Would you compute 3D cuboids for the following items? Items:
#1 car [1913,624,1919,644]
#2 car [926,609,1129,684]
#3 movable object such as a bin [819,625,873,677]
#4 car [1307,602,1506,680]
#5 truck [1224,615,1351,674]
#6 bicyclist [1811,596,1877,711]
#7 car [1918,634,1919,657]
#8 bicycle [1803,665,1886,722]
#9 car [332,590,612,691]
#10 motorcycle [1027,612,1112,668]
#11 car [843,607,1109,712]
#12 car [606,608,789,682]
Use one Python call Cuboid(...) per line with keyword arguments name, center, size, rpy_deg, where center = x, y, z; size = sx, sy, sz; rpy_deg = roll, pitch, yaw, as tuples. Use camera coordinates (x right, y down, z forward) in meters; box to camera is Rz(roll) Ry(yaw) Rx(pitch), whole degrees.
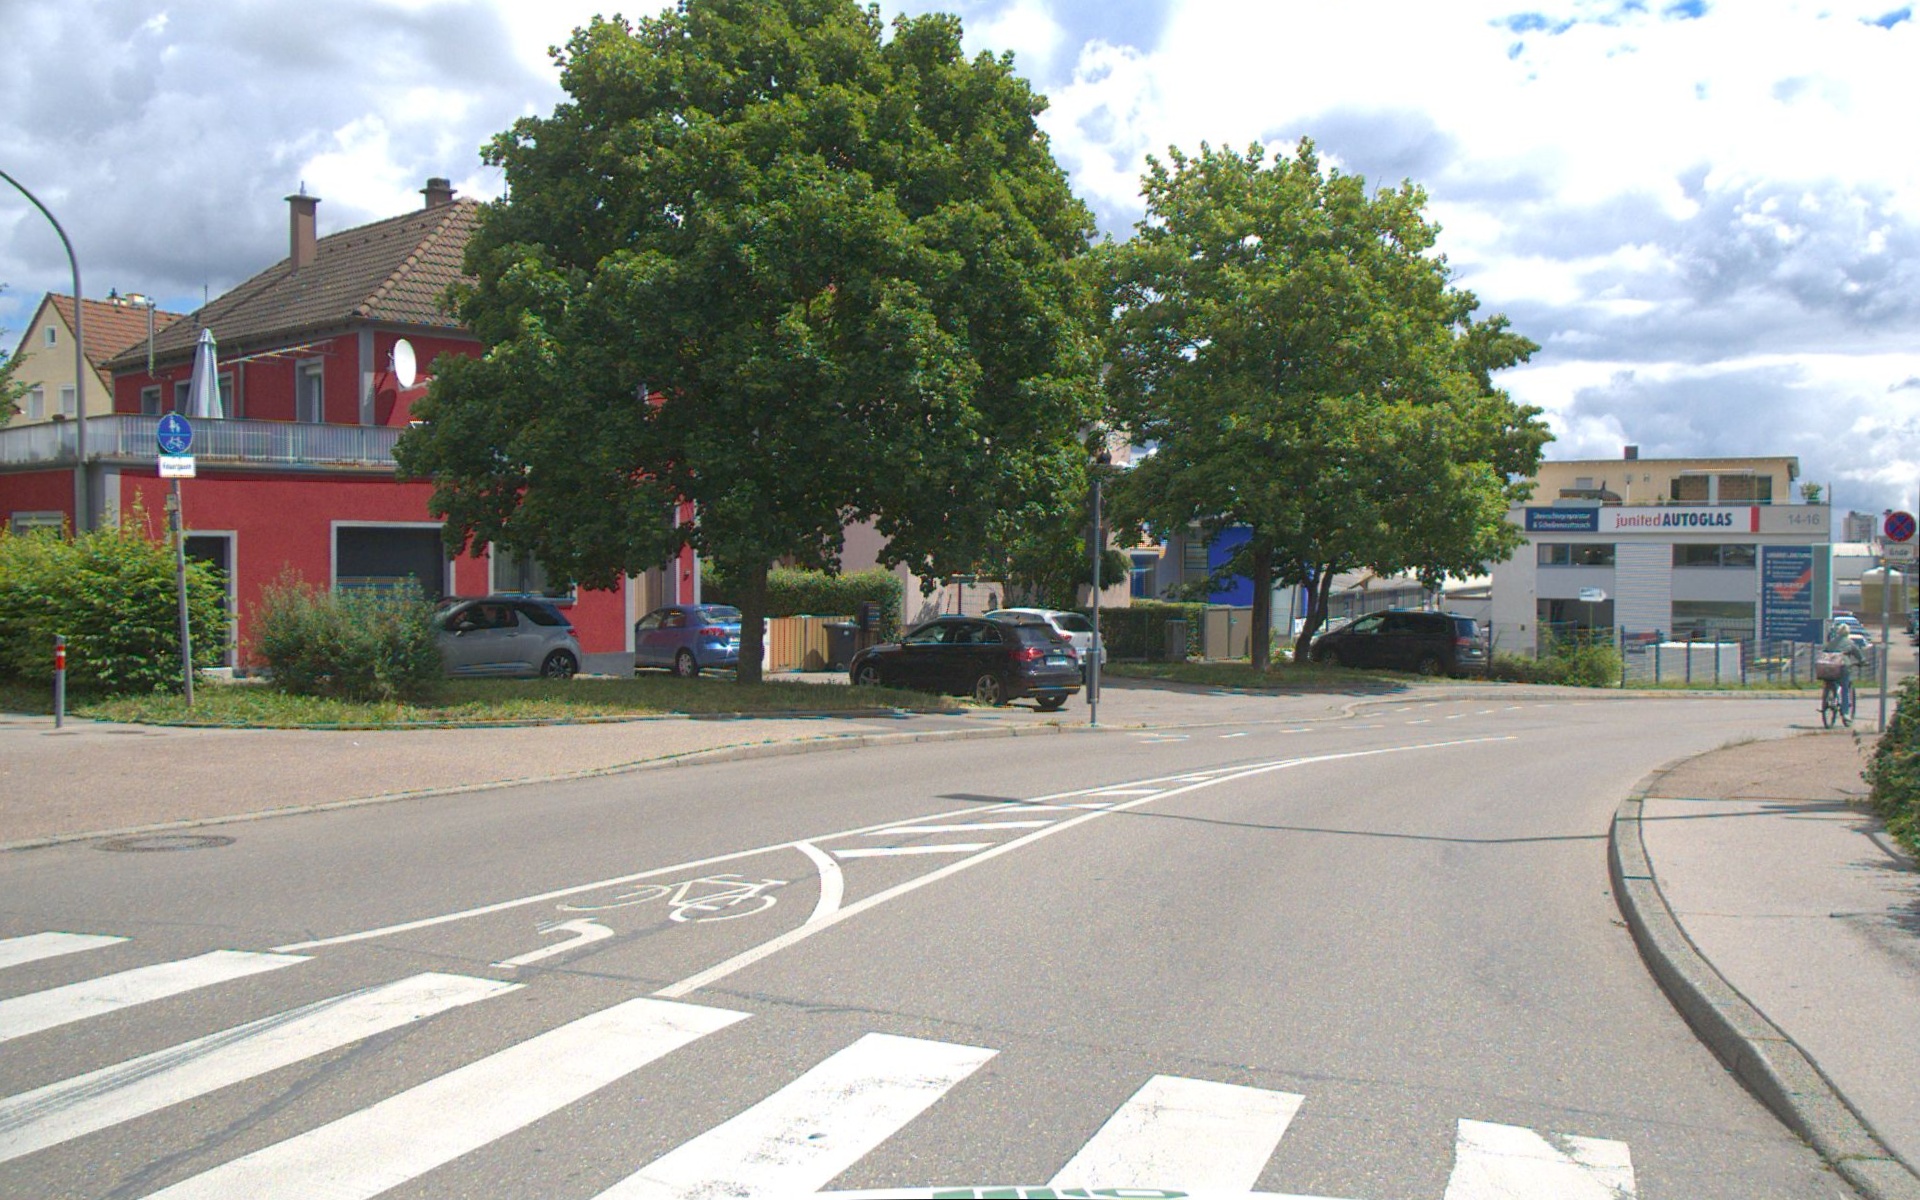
Cuboid(name="car", center=(67.537, 2.384, 115.536), size=(1.639, 1.347, 3.711), rpy_deg=(-1, -3, 29))
Cuboid(name="car", center=(1.362, 0.933, 34.164), size=(3.860, 1.428, 1.866), rpy_deg=(1, -1, 41))
Cuboid(name="movable object such as a bin", center=(-2.475, 1.102, 35.925), size=(0.873, 1.080, 0.746), rpy_deg=(2, 0, -43))
Cuboid(name="car", center=(11.705, 1.056, 43.564), size=(4.634, 1.746, 1.987), rpy_deg=(3, -1, 44))
Cuboid(name="truck", center=(15.782, 2.159, 79.825), size=(5.674, 2.754, 2.172), rpy_deg=(-1, -3, 31))
Cuboid(name="bicyclist", center=(14.530, 0.884, 27.185), size=(0.675, 1.858, 1.073), rpy_deg=(-2, -3, 43))
Cuboid(name="car", center=(58.814, 2.773, 99.815), size=(1.640, 1.347, 3.708), rpy_deg=(0, -3, 32))
Cuboid(name="bicycle", center=(14.558, 1.524, 27.208), size=(0.678, 0.894, 2.087), rpy_deg=(-2, -3, 43))
Cuboid(name="car", center=(-7.777, 0.631, 26.634), size=(1.617, 1.450, 4.052), rpy_deg=(2, 1, 42))
Cuboid(name="motorcycle", center=(2.749, 1.005, 41.311), size=(0.904, 1.338, 2.222), rpy_deg=(2, 0, 42))
Cuboid(name="car", center=(0.204, 0.918, 26.850), size=(4.074, 1.417, 1.986), rpy_deg=(3, 1, 44))
Cuboid(name="car", center=(-5.394, 0.881, 33.753), size=(3.749, 1.402, 1.830), rpy_deg=(0, 0, 44))
